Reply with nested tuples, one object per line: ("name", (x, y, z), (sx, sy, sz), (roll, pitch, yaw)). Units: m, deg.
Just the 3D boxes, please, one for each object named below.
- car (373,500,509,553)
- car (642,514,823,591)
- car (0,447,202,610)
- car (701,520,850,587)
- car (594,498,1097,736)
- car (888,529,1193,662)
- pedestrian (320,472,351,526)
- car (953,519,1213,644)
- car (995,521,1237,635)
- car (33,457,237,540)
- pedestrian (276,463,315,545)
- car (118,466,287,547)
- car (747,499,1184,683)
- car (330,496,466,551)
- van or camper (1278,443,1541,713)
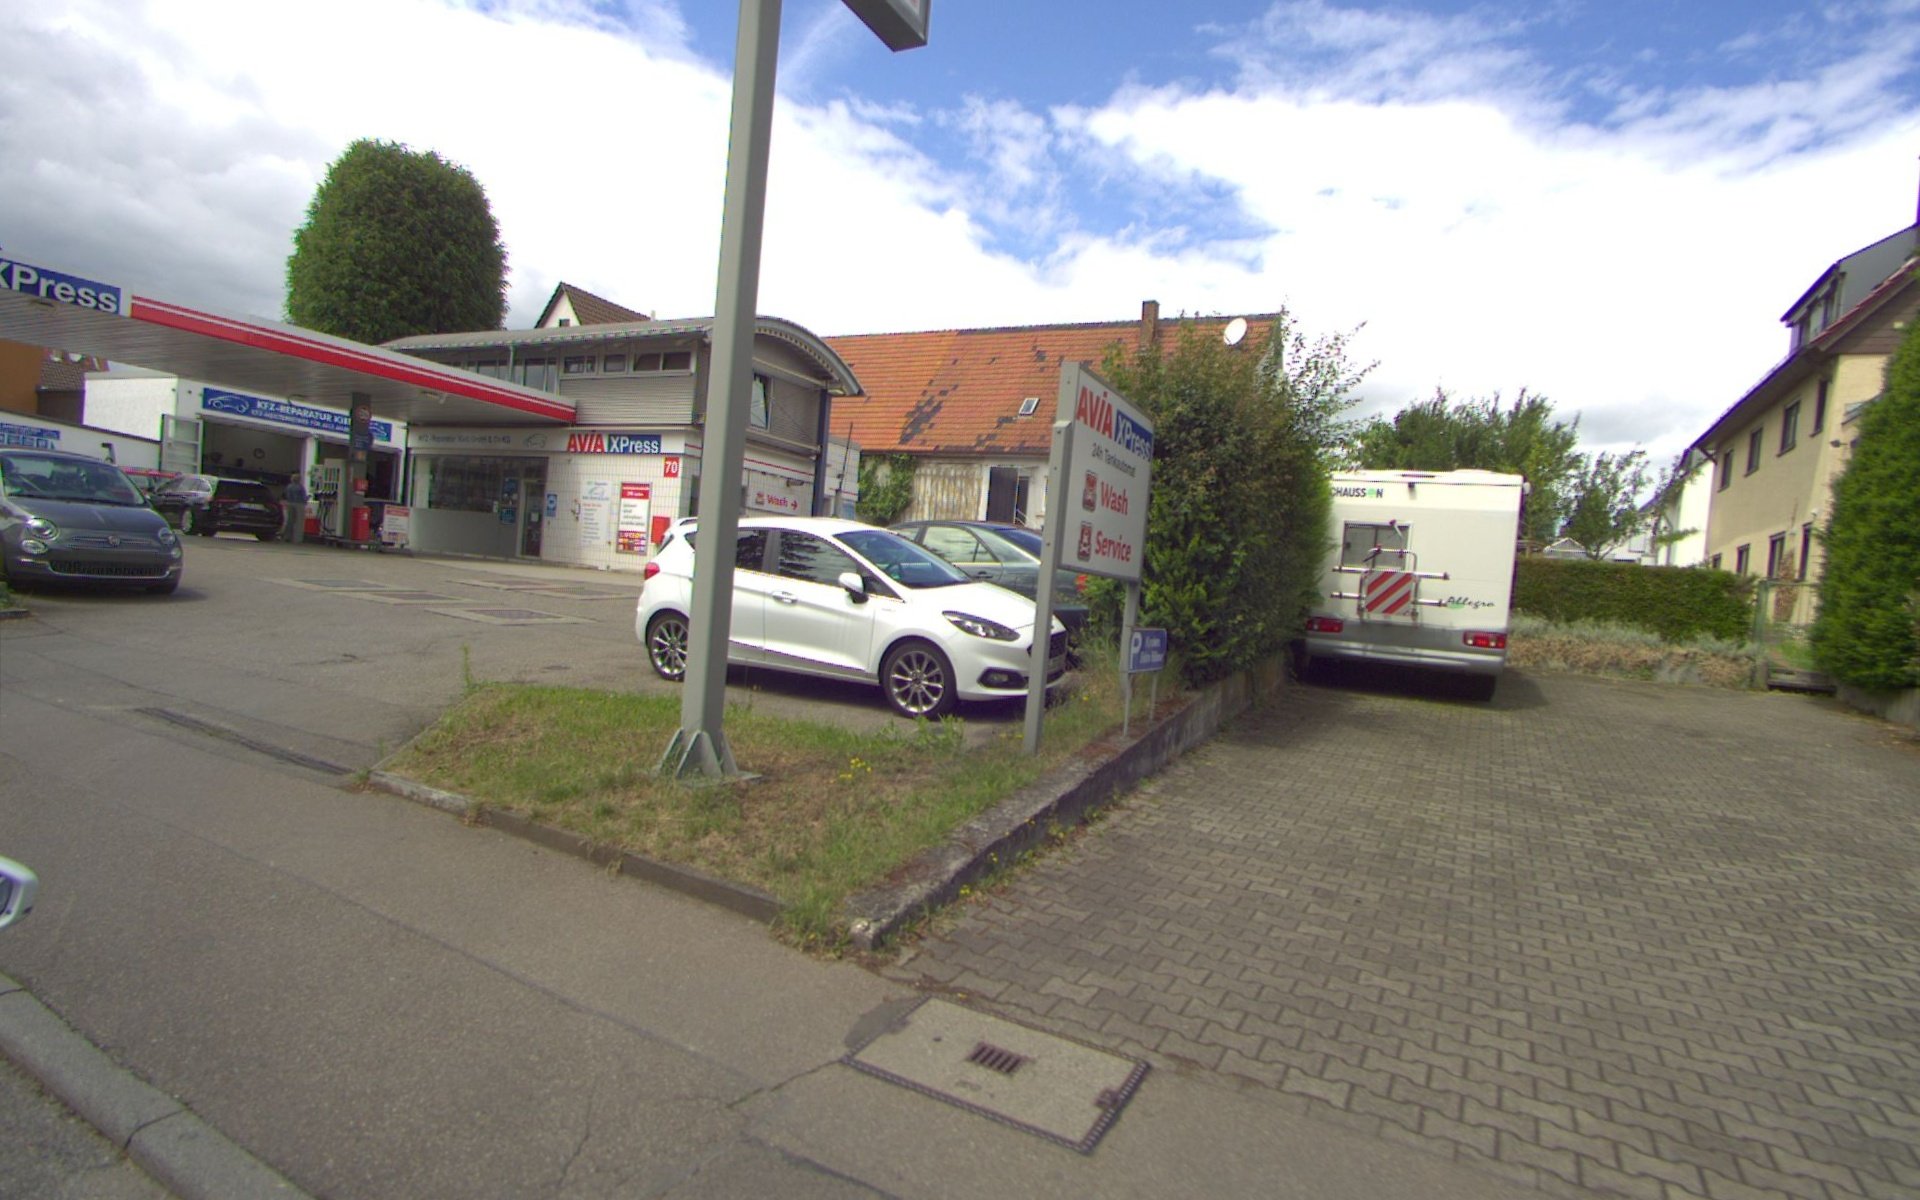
("car", (-17.247, -2.418, 33.576), (1.685, 1.479, 3.745), (3, 1, 28))
("car", (-4.924, -1.051, 21.618), (3.685, 1.522, 1.629), (3, 4, 30))
("car", (-10.742, -0.945, 11.756), (4.090, 1.620, 1.612), (7, 7, 32))
("car", (-4.566, -1.133, 25.407), (1.595, 1.479, 3.742), (3, 1, 31))
("car", (-1.069, 0.011, 8.859), (4.129, 1.551, 1.634), (5, 5, 26))
("car", (1.065, -0.130, 13.528), (3.681, 1.392, 1.636), (5, 5, 26))
("pedestrian", (-23.148, -3.727, 37.316), (0.664, 1.868, 0.682), (5, 1, -15))
("car", (1.927, -0.355, 15.946), (3.681, 1.608, 1.637), (5, 5, 26))
("car", (2.803, -0.461, 18.318), (3.977, 1.708, 1.567), (5, 5, 26))
("car", (-24.800, -2.993, 30.395), (4.575, 1.738, 1.804), (6, 0, -42))
("pedestrian", (-16.763, -2.402, 25.385), (0.579, 1.960, 0.537), (5, 1, -24))
("car", (-18.620, -2.320, 24.676), (4.494, 1.629, 1.632), (5, 1, 30))
("car", (-0.019, -0.209, 11.313), (4.575, 1.565, 1.711), (6, 5, 27))
("car", (-19.270, -2.586, 34.635), (1.593, 1.461, 3.741), (11, 6, 30))
("van or camper", (6.365, -0.428, 14.250), (2.487, 2.893, 5.959), (6, 5, 25))
